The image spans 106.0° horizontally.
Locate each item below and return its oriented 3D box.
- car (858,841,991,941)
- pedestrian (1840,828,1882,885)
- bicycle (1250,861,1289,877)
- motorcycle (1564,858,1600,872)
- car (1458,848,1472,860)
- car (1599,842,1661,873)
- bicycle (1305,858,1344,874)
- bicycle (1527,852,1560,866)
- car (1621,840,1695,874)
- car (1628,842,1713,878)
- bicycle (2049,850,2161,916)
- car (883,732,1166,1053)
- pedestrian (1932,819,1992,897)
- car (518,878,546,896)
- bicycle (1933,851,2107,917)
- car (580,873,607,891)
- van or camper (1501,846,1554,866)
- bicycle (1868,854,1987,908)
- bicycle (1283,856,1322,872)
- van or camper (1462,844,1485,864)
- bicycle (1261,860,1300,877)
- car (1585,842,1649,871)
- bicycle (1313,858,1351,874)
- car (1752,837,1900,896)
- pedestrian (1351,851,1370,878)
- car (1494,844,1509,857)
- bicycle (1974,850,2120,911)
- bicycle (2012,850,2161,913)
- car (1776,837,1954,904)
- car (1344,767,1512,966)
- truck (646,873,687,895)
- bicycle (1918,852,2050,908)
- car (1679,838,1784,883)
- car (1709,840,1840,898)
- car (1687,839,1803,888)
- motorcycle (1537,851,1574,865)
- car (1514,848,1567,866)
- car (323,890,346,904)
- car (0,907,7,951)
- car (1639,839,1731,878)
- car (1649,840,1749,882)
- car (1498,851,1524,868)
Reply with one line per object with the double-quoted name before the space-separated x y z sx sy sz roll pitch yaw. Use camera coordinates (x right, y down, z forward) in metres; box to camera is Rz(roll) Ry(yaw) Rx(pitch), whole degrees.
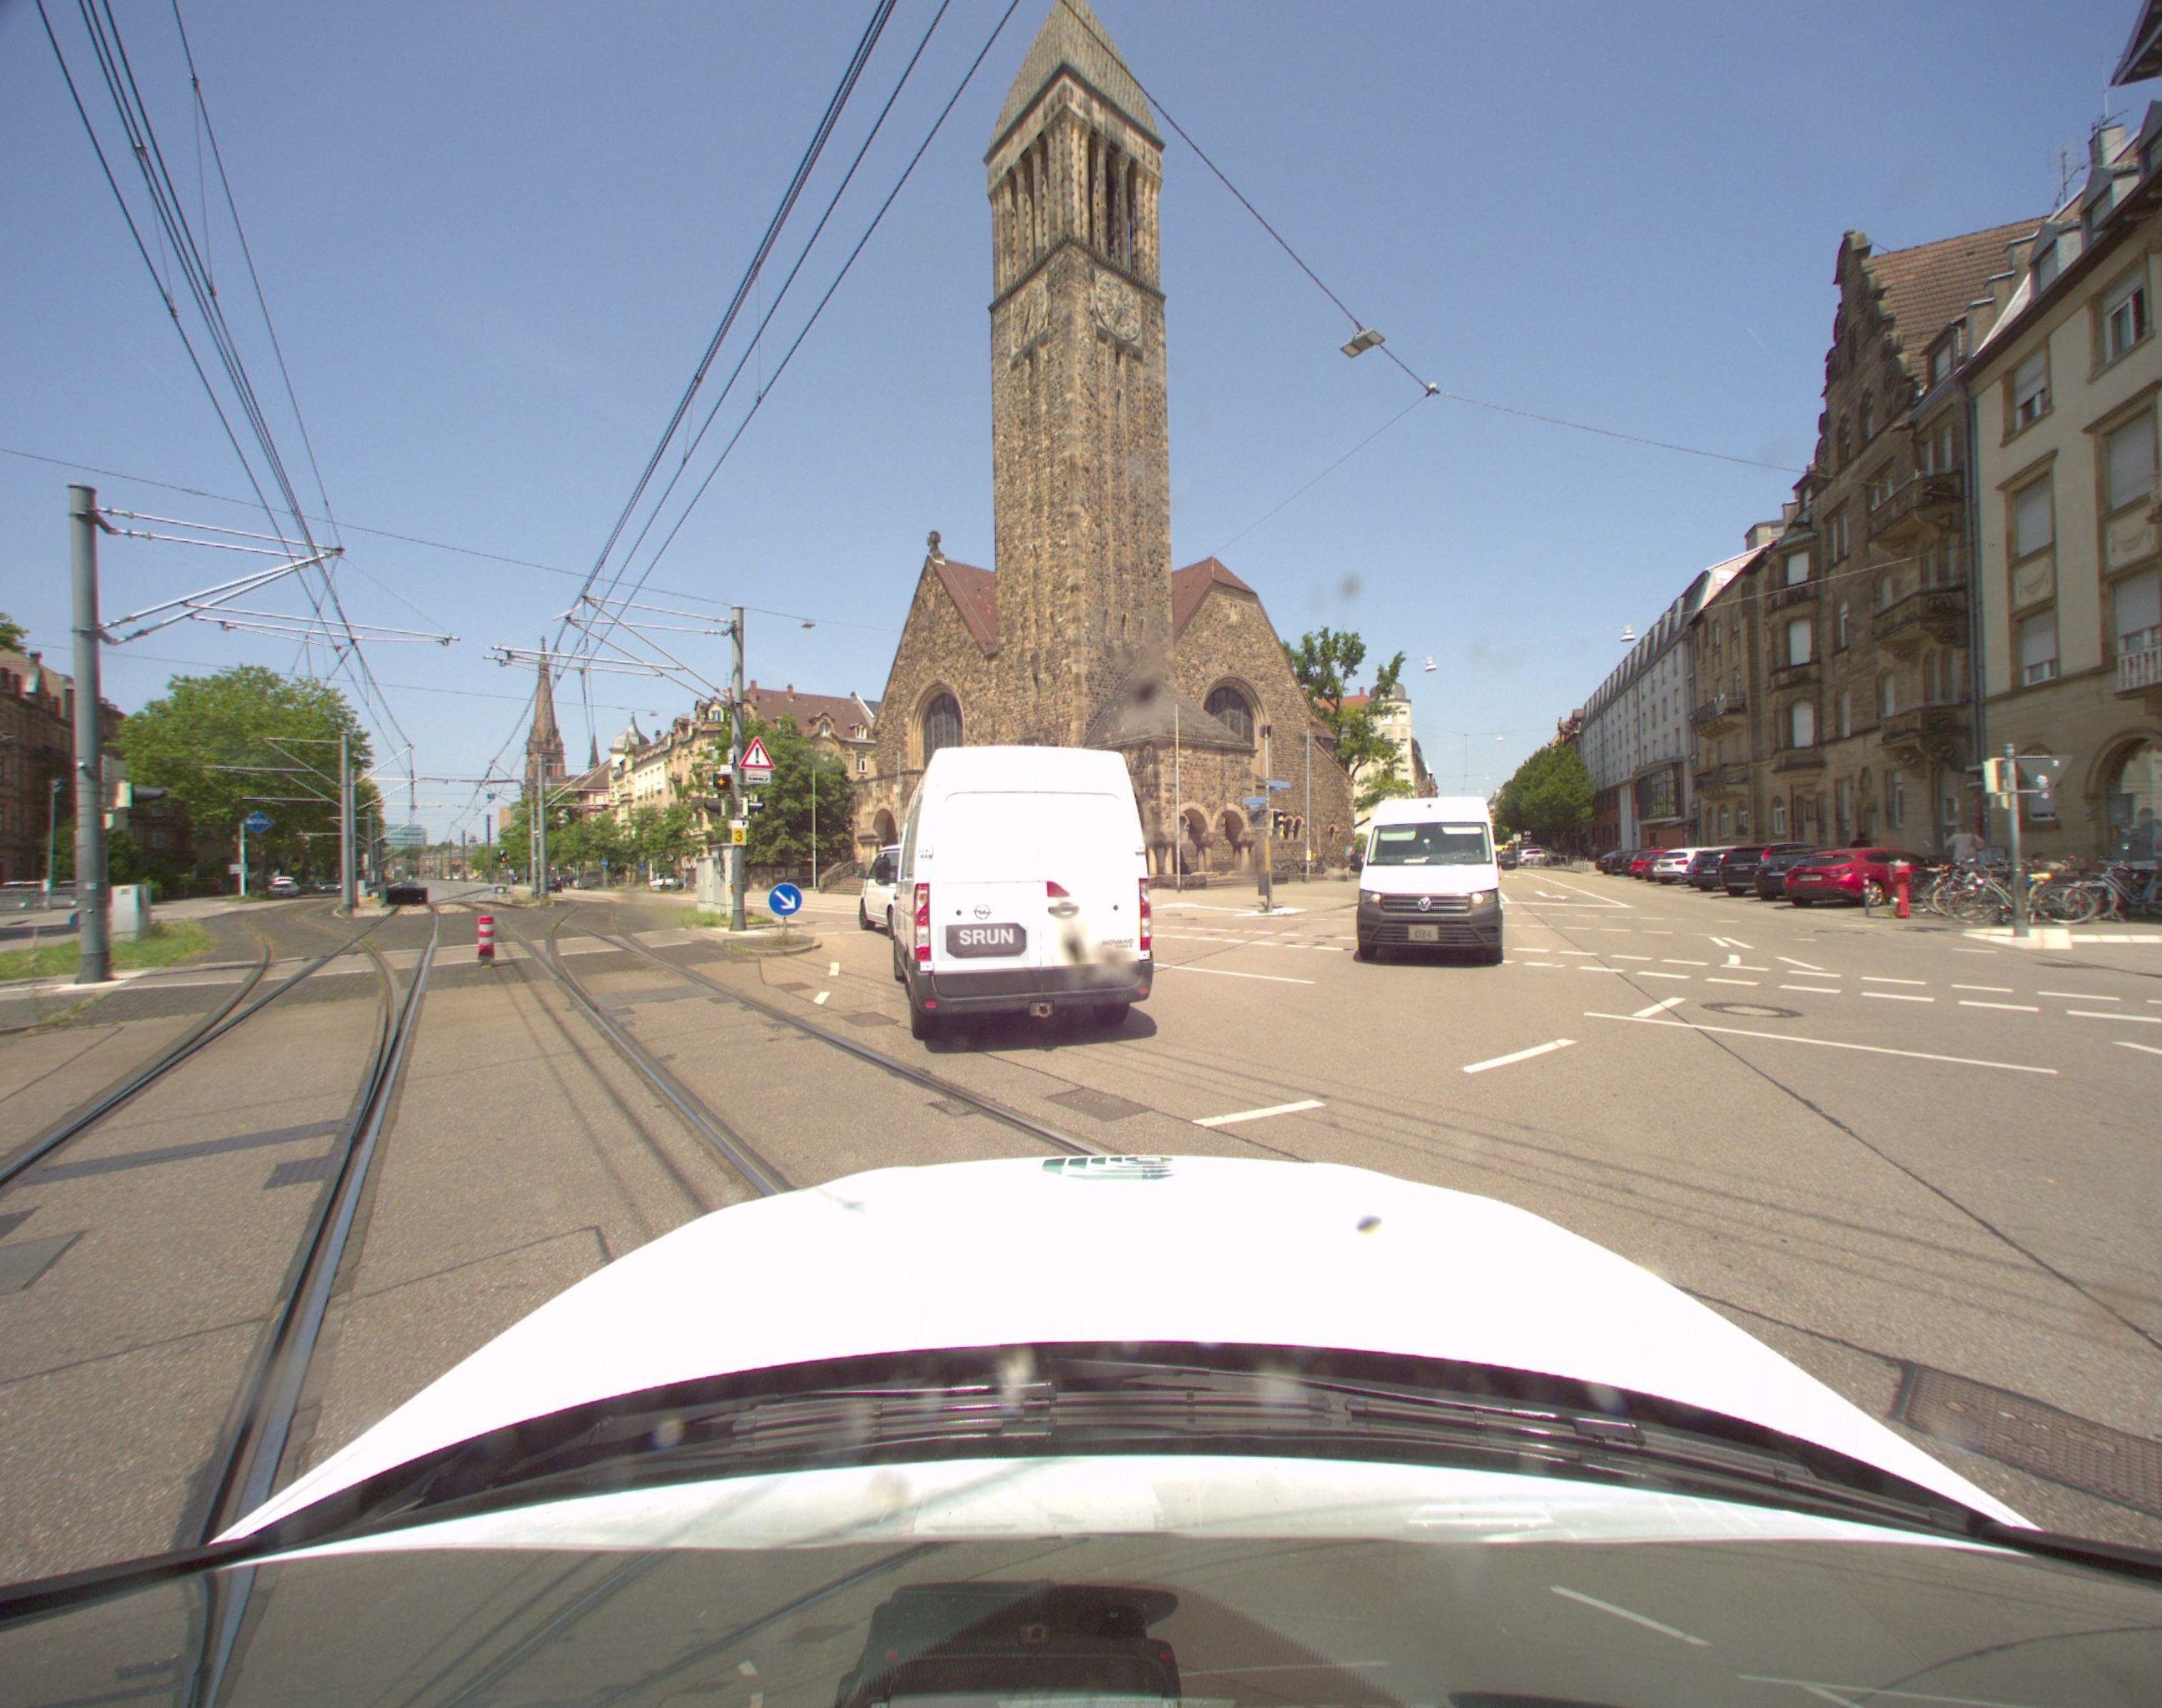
"car" -3.650 0.774 18.343 1.926 1.944 4.228 -1 -1 -25
"pedestrian" 27.972 0.101 29.233 0.856 2.014 1.108 -2 -1 35
"bicycle" 11.827 0.951 51.231 0.710 1.011 2.470 -2 0 -39
"motorcycle" 42.961 0.946 69.868 2.566 1.175 0.687 -2 -1 27
"car" 66.057 0.003 140.179 1.975 2.014 4.024 -2 -1 27
"car" 31.722 0.205 47.057 3.232 1.575 1.483 -2 -3 -26
"bicycle" 16.168 0.823 54.175 0.710 1.011 2.470 -2 0 -39
"bicycle" 41.591 0.458 73.269 2.580 1.175 0.683 -1 -1 2
"car" 31.089 0.170 43.881 3.226 1.575 1.606 -2 -3 -19
"car" 29.480 0.328 40.759 3.217 1.575 1.611 -3 -2 -10
"bicycle" 18.981 0.530 14.710 1.782 1.151 0.569 -4 -2 39
"car" -0.992 0.327 8.970 2.121 2.459 5.027 -1 -1 -15
"pedestrian" 24.576 0.130 22.749 0.856 2.114 1.108 -2 -1 35
"car" -50.489 2.999 74.889 1.765 1.539 3.714 0 -1 -41
"bicycle" 17.456 0.548 15.214 2.034 1.151 0.569 -2 0 39
"car" -49.581 2.862 82.769 1.765 1.706 3.714 0 -1 -41
"van or camper" 45.501 0.225 83.013 4.300 1.838 1.999 -2 0 -2
"bicycle" 19.407 0.623 18.715 1.784 1.151 0.568 -3 -2 20
"bicycle" 14.348 0.649 52.762 0.710 1.011 2.470 -2 0 -38
"van or camper" 42.879 -0.015 88.978 2.017 2.141 4.606 -2 0 24
"bicycle" 12.707 0.925 52.016 0.710 1.011 2.470 -2 0 -39
"car" 32.698 0.155 49.695 3.228 1.575 1.605 -2 -3 -21
"bicycle" 16.916 0.801 54.875 0.710 1.011 2.470 -2 0 -39
"car" 21.594 0.371 23.645 3.221 1.479 1.608 -3 -3 -15
"pedestrian" 15.860 0.597 46.250 0.711 1.559 0.796 -2 -2 43
"car" 67.285 -0.548 130.279 1.888 2.014 4.024 -3 -2 29
"bicycle" 19.526 0.550 16.523 1.782 1.151 0.569 -4 -2 39
"bicycle" 19.306 0.542 15.610 1.782 1.151 0.569 -4 -2 39
"car" 20.080 0.433 20.928 3.215 1.479 1.612 -3 -2 -9
"car" 6.180 0.159 14.246 2.051 2.637 6.672 -2 0 26
"truck" -31.850 2.277 62.500 1.805 1.526 4.412 -2 0 -41
"bicycle" 19.458 0.569 17.610 1.782 1.151 0.569 -4 -2 39
"car" 25.870 0.261 32.417 3.221 1.575 1.608 -3 -3 -15
"car" 22.560 0.502 26.535 3.221 1.665 1.608 -3 -3 -15
"car" 24.202 0.358 29.704 3.221 1.575 1.608 -3 -3 -15
"motorcycle" 40.365 0.332 69.325 2.684 1.175 0.780 -2 -1 27
"car" 43.437 0.302 76.989 3.972 1.549 1.750 -1 -1 1
"car" -93.913 5.367 102.518 1.863 1.625 4.548 -3 0 -40
"car" -35.014 2.443 25.036 1.610 1.420 3.737 -3 1 -41
"car" 28.114 0.235 37.963 3.217 1.575 1.611 -3 -2 -10
"car" 26.762 0.312 35.306 3.217 1.575 1.611 -3 -2 -10
"car" 48.930 0.621 92.762 1.938 1.750 4.019 -2 0 18
